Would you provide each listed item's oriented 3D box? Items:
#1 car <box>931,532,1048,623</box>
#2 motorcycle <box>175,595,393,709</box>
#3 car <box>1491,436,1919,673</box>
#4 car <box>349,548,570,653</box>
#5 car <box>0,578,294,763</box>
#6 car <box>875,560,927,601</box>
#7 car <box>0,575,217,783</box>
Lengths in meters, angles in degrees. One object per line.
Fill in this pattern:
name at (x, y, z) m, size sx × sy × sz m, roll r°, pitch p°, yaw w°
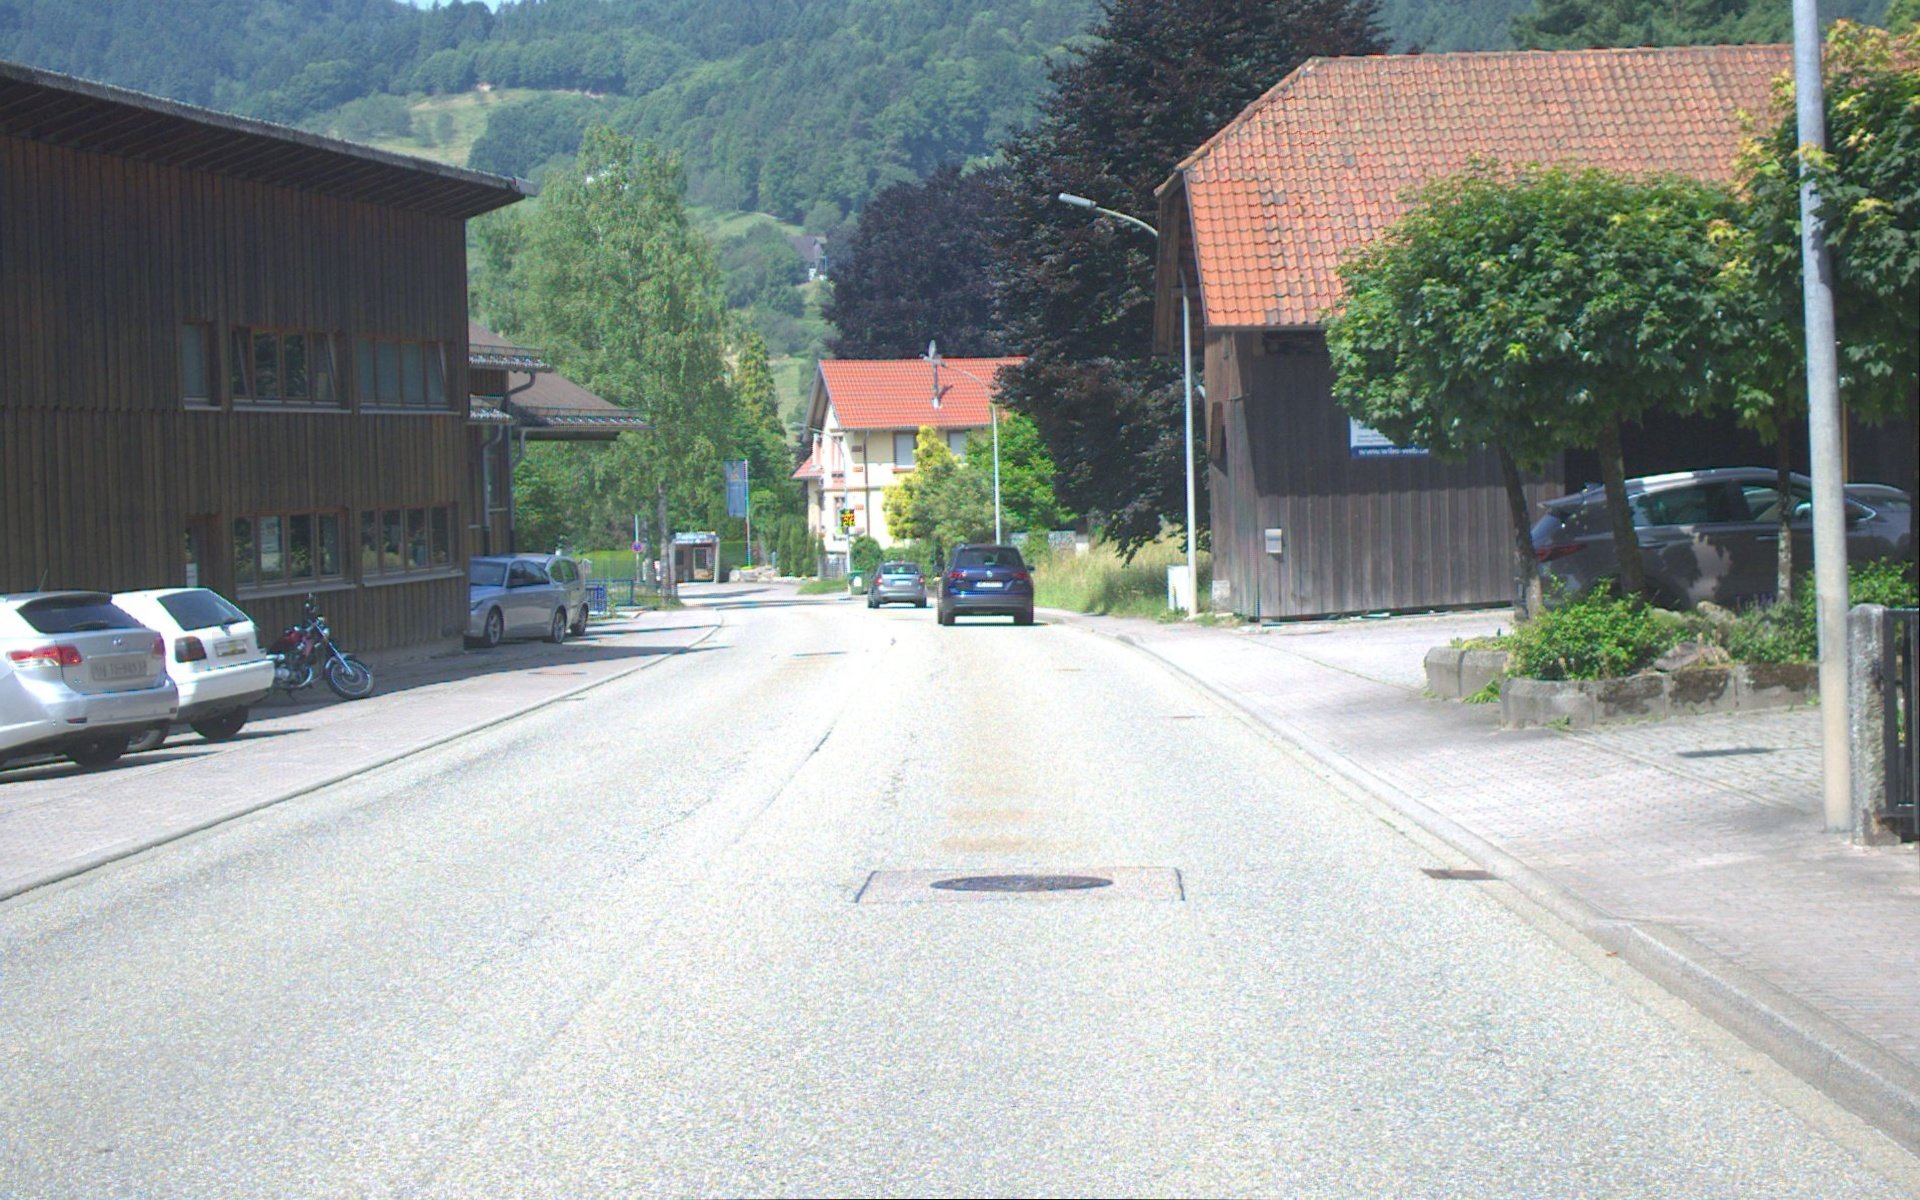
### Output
car at (0.561, -0.453, 69.123) m, size 1.919 × 1.692 × 3.789 m, roll -2°, pitch 1°, yaw -5°
motorcycle at (-8.088, 0.615, 41.172) m, size 2.410 × 1.260 × 0.743 m, roll -2°, pitch 1°, yaw 11°
car at (7.025, -0.447, 30.737) m, size 4.221 × 1.681 × 1.776 m, roll -6°, pitch 1°, yaw 4°
car at (-7.860, -0.025, 54.438) m, size 1.730 × 1.449 × 4.802 m, roll -1°, pitch 2°, yaw 14°
car at (-8.031, 0.687, 30.570) m, size 3.661 × 1.381 × 1.710 m, roll -5°, pitch 0°, yaw 16°
car at (-1.894, -0.633, 109.704) m, size 1.476 × 1.205 × 2.384 m, roll -3°, pitch 1°, yaw -4°
car at (-8.459, 0.744, 27.867) m, size 4.435 × 1.469 × 1.922 m, roll -5°, pitch 1°, yaw 26°
